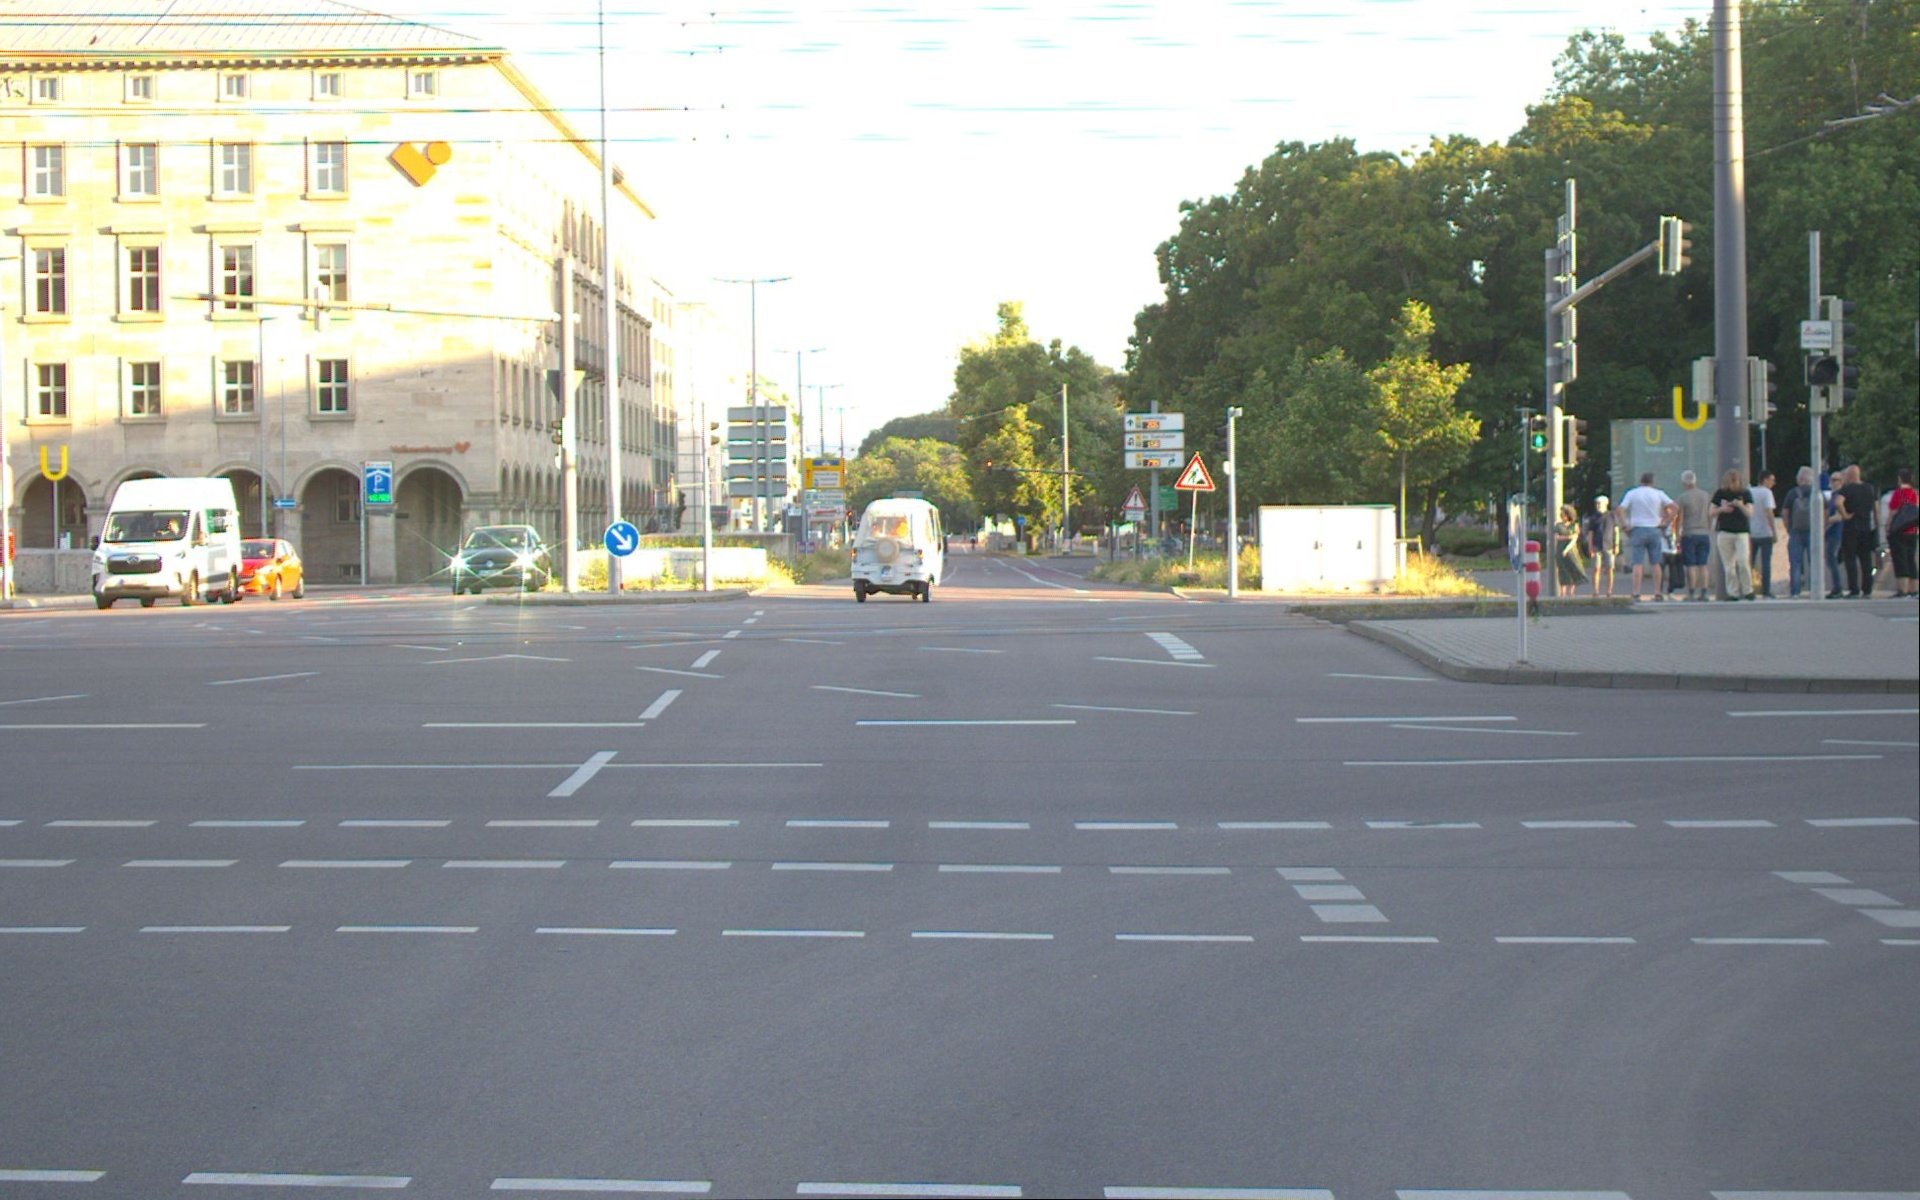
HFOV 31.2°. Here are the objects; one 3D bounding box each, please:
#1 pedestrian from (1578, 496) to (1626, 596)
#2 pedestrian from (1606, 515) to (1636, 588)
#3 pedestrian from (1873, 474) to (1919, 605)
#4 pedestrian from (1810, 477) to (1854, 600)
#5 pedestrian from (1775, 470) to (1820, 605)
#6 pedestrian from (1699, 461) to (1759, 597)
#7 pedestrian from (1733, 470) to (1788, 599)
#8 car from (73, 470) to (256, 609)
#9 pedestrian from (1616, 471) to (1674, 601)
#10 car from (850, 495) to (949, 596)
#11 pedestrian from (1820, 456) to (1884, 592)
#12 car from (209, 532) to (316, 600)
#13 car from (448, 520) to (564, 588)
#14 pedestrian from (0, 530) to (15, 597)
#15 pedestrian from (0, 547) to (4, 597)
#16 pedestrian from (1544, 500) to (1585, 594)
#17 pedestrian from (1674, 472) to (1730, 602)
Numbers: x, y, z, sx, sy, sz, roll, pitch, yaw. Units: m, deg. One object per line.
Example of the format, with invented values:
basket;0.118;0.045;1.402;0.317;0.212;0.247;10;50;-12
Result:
pedestrian;11.319;-0.956;60.561;0.680;1.751;0.901;0;2;20
pedestrian;16.852;-1.248;87.697;0.666;1.836;0.713;0;2;5
pedestrian;12.672;-0.814;46.005;0.845;1.728;0.705;0;2;12
pedestrian;11.904;-0.845;46.949;0.572;1.673;0.638;0;2;14
pedestrian;11.114;-0.831;45.655;0.572;1.785;0.638;0;2;14
pedestrian;9.814;-0.909;43.879;0.711;1.719;0.914;0;2;11
pedestrian;10.842;-0.890;46.542;0.711;1.719;0.914;0;2;13
car;-16.693;-1.301;72.475;2.279;2.766;6.084;-1;1;1
pedestrian;9.125;-0.853;45.793;0.711;1.719;0.668;0;2;14
car;-1.023;-0.960;59.585;1.483;1.690;2.974;-1;1;3
pedestrian;11.827;-1.006;45.614;0.805;1.785;0.800;0;2;14
car;-16.436;-0.825;81.183;1.738;1.482;4.001;-1;2;-1
car;-9.557;-0.989;72.628;1.823;1.337;4.000;-1;2;2
pedestrian;-25.143;-0.951;90.138;0.621;1.738;0.460;1;0;-5
pedestrian;-25.028;-0.725;89.077;0.420;1.296;0.460;1;0;-5
pedestrian;10.671;-0.940;60.690;0.560;1.649;0.901;0;2;20
pedestrian;9.859;-0.841;45.664;0.711;1.719;0.668;0;2;13
